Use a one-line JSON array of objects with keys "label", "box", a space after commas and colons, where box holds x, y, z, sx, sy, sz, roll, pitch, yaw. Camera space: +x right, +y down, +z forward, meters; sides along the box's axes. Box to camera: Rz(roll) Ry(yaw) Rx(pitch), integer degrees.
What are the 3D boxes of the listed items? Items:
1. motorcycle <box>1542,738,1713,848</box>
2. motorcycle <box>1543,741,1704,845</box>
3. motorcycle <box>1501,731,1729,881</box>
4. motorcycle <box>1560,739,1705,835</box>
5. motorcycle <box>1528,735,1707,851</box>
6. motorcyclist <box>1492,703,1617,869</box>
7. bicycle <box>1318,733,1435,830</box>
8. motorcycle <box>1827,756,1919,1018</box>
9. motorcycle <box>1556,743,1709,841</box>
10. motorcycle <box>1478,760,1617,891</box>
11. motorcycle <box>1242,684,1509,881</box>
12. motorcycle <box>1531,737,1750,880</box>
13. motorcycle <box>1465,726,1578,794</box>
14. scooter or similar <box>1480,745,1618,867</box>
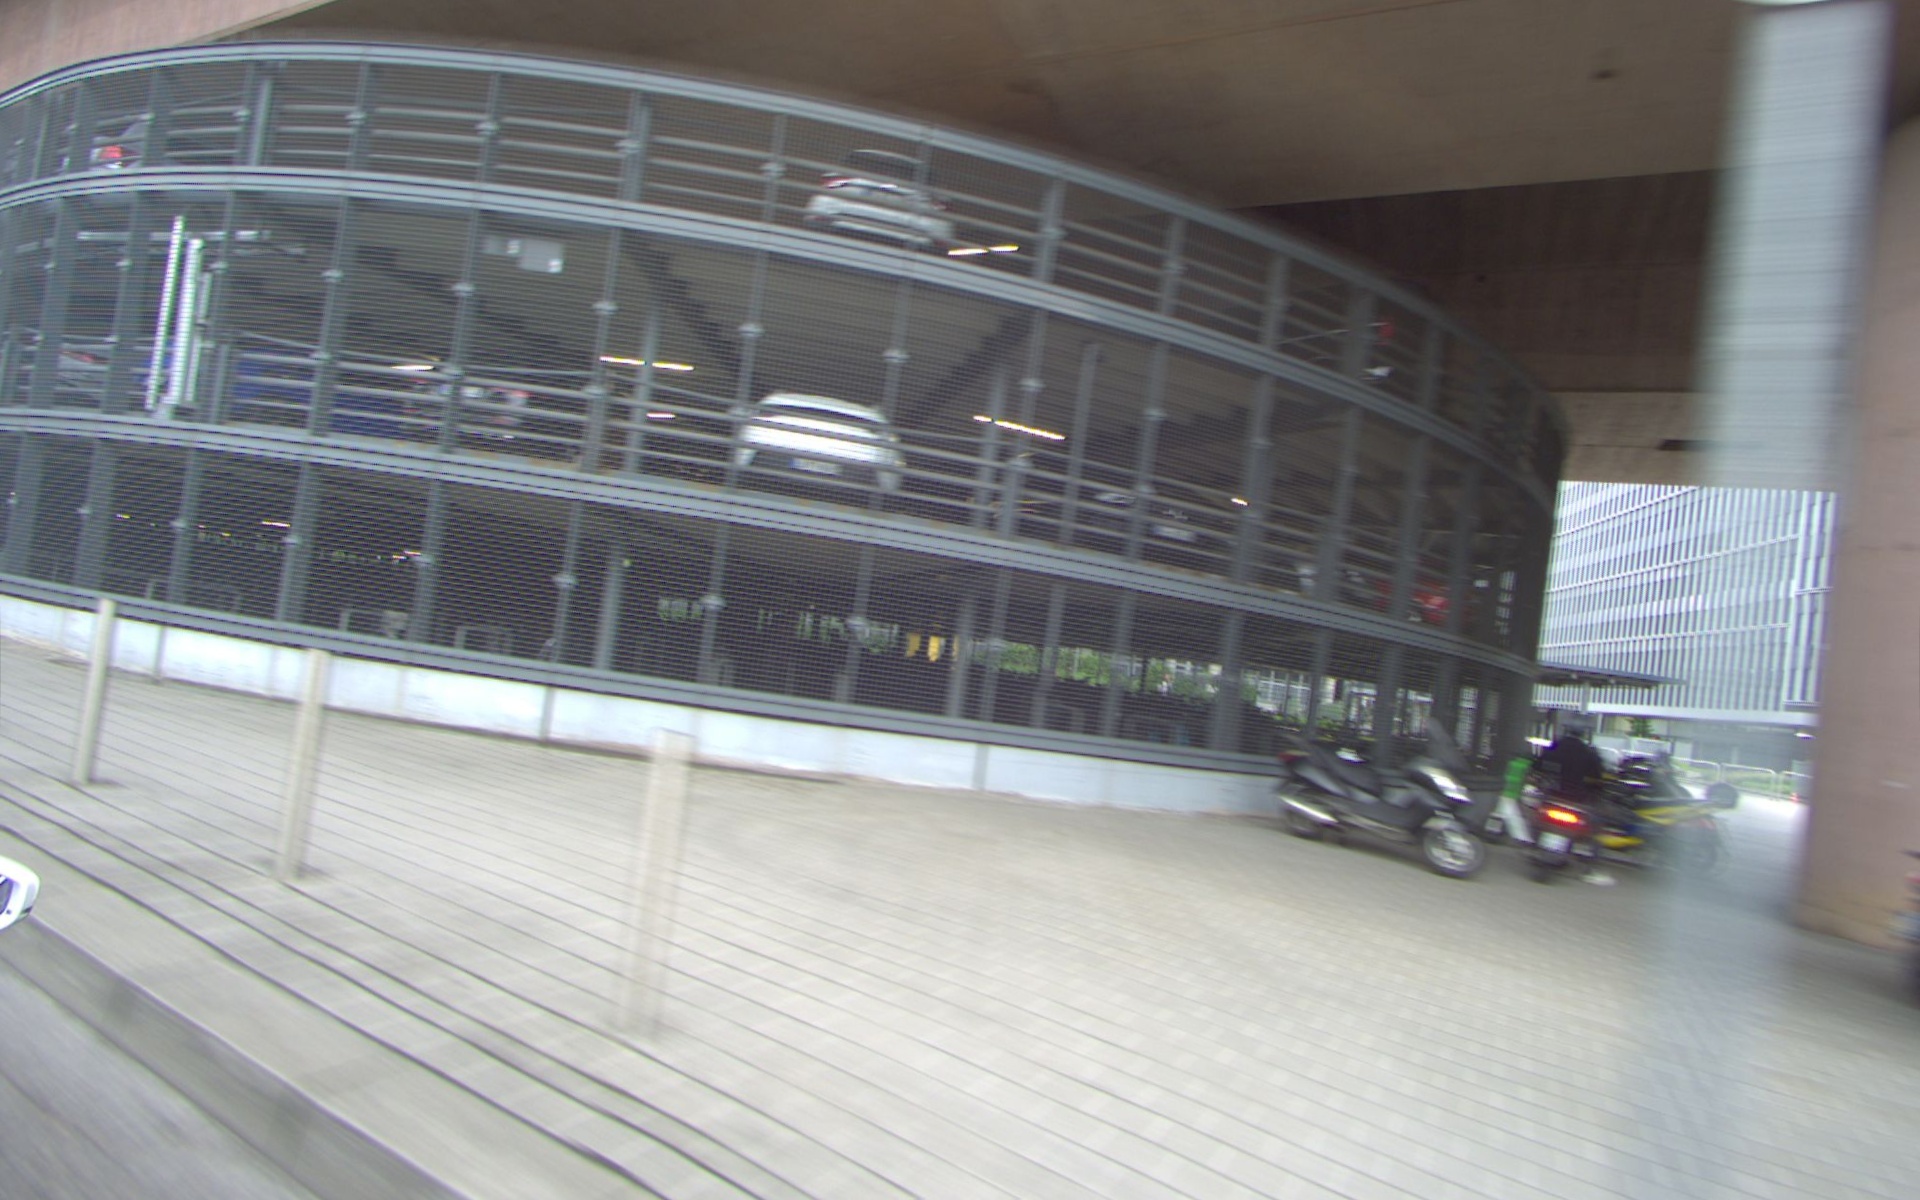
[{"label": "motorcycle", "box": [10.297, 2.958, 15.631, 2.044, 1.234, 0.673, 8, -1, 31]}, {"label": "motorcycle", "box": [10.847, 3.133, 16.540, 2.044, 1.234, 0.673, 8, -1, 31]}, {"label": "motorcycle", "box": [7.765, 2.401, 12.014, 2.096, 1.325, 0.605, 6, -2, 44]}, {"label": "motorcycle", "box": [12.327, 3.407, 18.533, 2.044, 1.301, 0.673, 8, -1, 31]}, {"label": "motorcycle", "box": [9.660, 2.806, 14.882, 2.044, 1.234, 0.673, 8, -1, 31]}, {"label": "motorcyclist", "box": [5.876, 1.812, 9.942, 0.753, 1.436, 0.866, 8, -1, 42]}, {"label": "bicycle", "box": [4.919, 2.152, 11.856, 1.464, 0.987, 0.447, 10, -1, -34]}, {"label": "motorcycle", "box": [6.504, 1.847, 6.025, 1.729, 1.472, 0.644, 8, 0, 14]}, {"label": "motorcycle", "box": [11.607, 3.293, 17.459, 2.044, 1.234, 0.673, 8, -1, 31]}, {"label": "motorcycle", "box": [5.863, 2.179, 9.982, 0.738, 1.034, 1.949, 8, -2, 41]}, {"label": "motorcycle", "box": [3.913, 1.670, 9.635, 2.141, 1.436, 0.628, 6, -2, 44]}, {"label": "motorcycle", "box": [8.401, 2.537, 12.531, 2.095, 1.317, 0.607, 6, -2, 33]}, {"label": "motorcycle", "box": [14.092, 4.000, 25.306, 2.324, 1.234, 0.673, 8, -1, 31]}, {"label": "scooter or similar", "box": [6.940, 2.399, 11.881, 1.233, 1.147, 0.399, 8, -1, 41]}]
